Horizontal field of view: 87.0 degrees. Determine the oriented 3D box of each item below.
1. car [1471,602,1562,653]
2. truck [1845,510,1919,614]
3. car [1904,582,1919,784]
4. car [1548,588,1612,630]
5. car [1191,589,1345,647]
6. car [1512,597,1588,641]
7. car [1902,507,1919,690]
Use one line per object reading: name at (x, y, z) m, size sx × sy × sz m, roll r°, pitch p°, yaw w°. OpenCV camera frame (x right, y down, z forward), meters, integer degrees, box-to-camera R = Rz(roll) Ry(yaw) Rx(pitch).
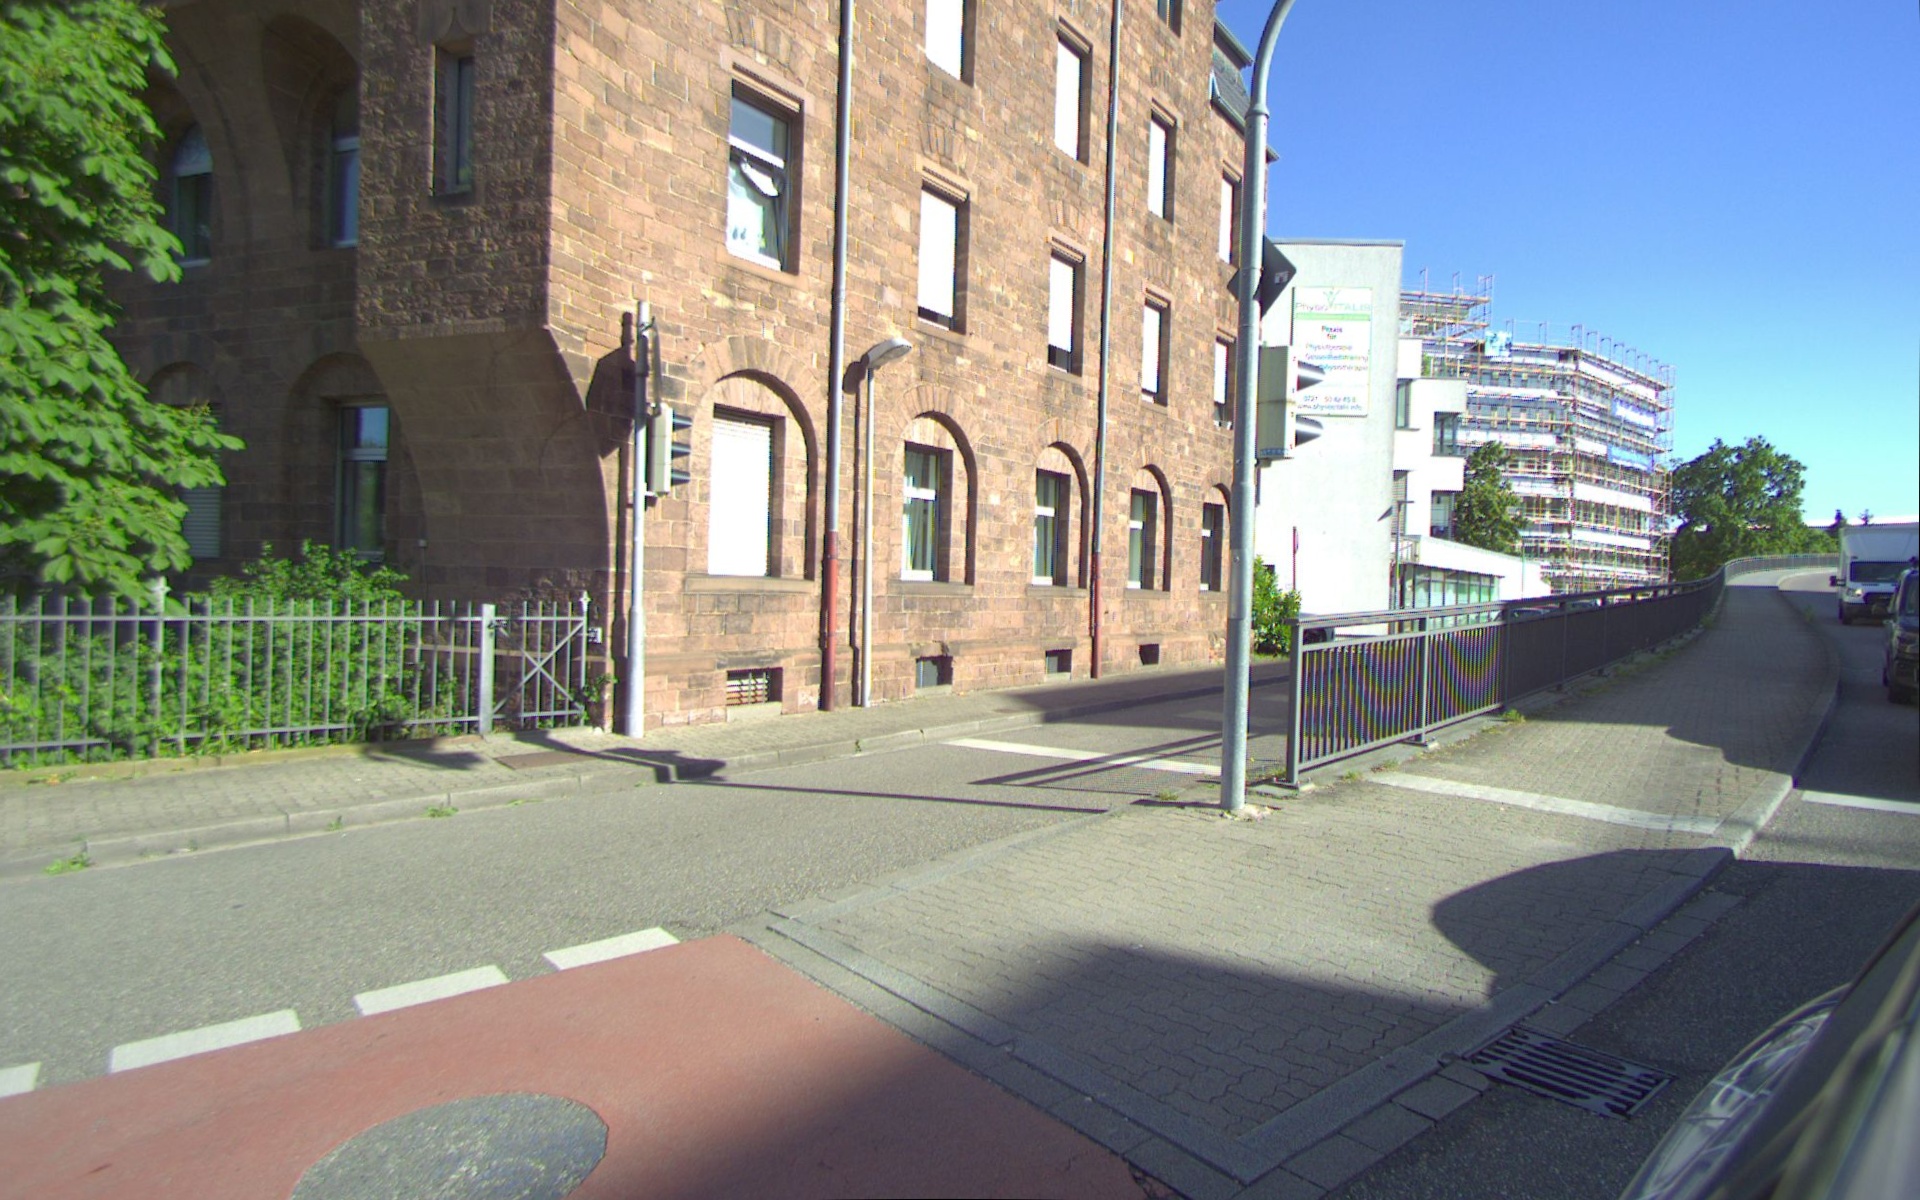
car at (18.575, 0.874, 33.708) m, size 2.043 × 1.551 × 4.036 m, roll 2°, pitch 0°, yaw 38°
truck at (31.027, -1.133, 33.504) m, size 2.495 × 3.167 × 6.855 m, roll 2°, pitch 1°, yaw 41°
car at (9.275, 0.629, 8.491) m, size 1.875 × 1.489 × 4.562 m, roll 3°, pitch 2°, yaw 44°
car at (27.603, 0.387, 45.034) m, size 2.043 × 1.707 × 4.037 m, roll 2°, pitch 0°, yaw 37°
car at (9.105, 0.519, 30.179) m, size 4.020 × 1.551 × 1.917 m, roll 2°, pitch 0°, yaw 5°
car at (22.672, 0.694, 38.799) m, size 2.043 × 1.551 × 4.037 m, roll 2°, pitch 0°, yaw 37°
car at (14.197, 0.039, 13.769) m, size 1.945 × 2.290 × 4.710 m, roll 2°, pitch 1°, yaw 43°
